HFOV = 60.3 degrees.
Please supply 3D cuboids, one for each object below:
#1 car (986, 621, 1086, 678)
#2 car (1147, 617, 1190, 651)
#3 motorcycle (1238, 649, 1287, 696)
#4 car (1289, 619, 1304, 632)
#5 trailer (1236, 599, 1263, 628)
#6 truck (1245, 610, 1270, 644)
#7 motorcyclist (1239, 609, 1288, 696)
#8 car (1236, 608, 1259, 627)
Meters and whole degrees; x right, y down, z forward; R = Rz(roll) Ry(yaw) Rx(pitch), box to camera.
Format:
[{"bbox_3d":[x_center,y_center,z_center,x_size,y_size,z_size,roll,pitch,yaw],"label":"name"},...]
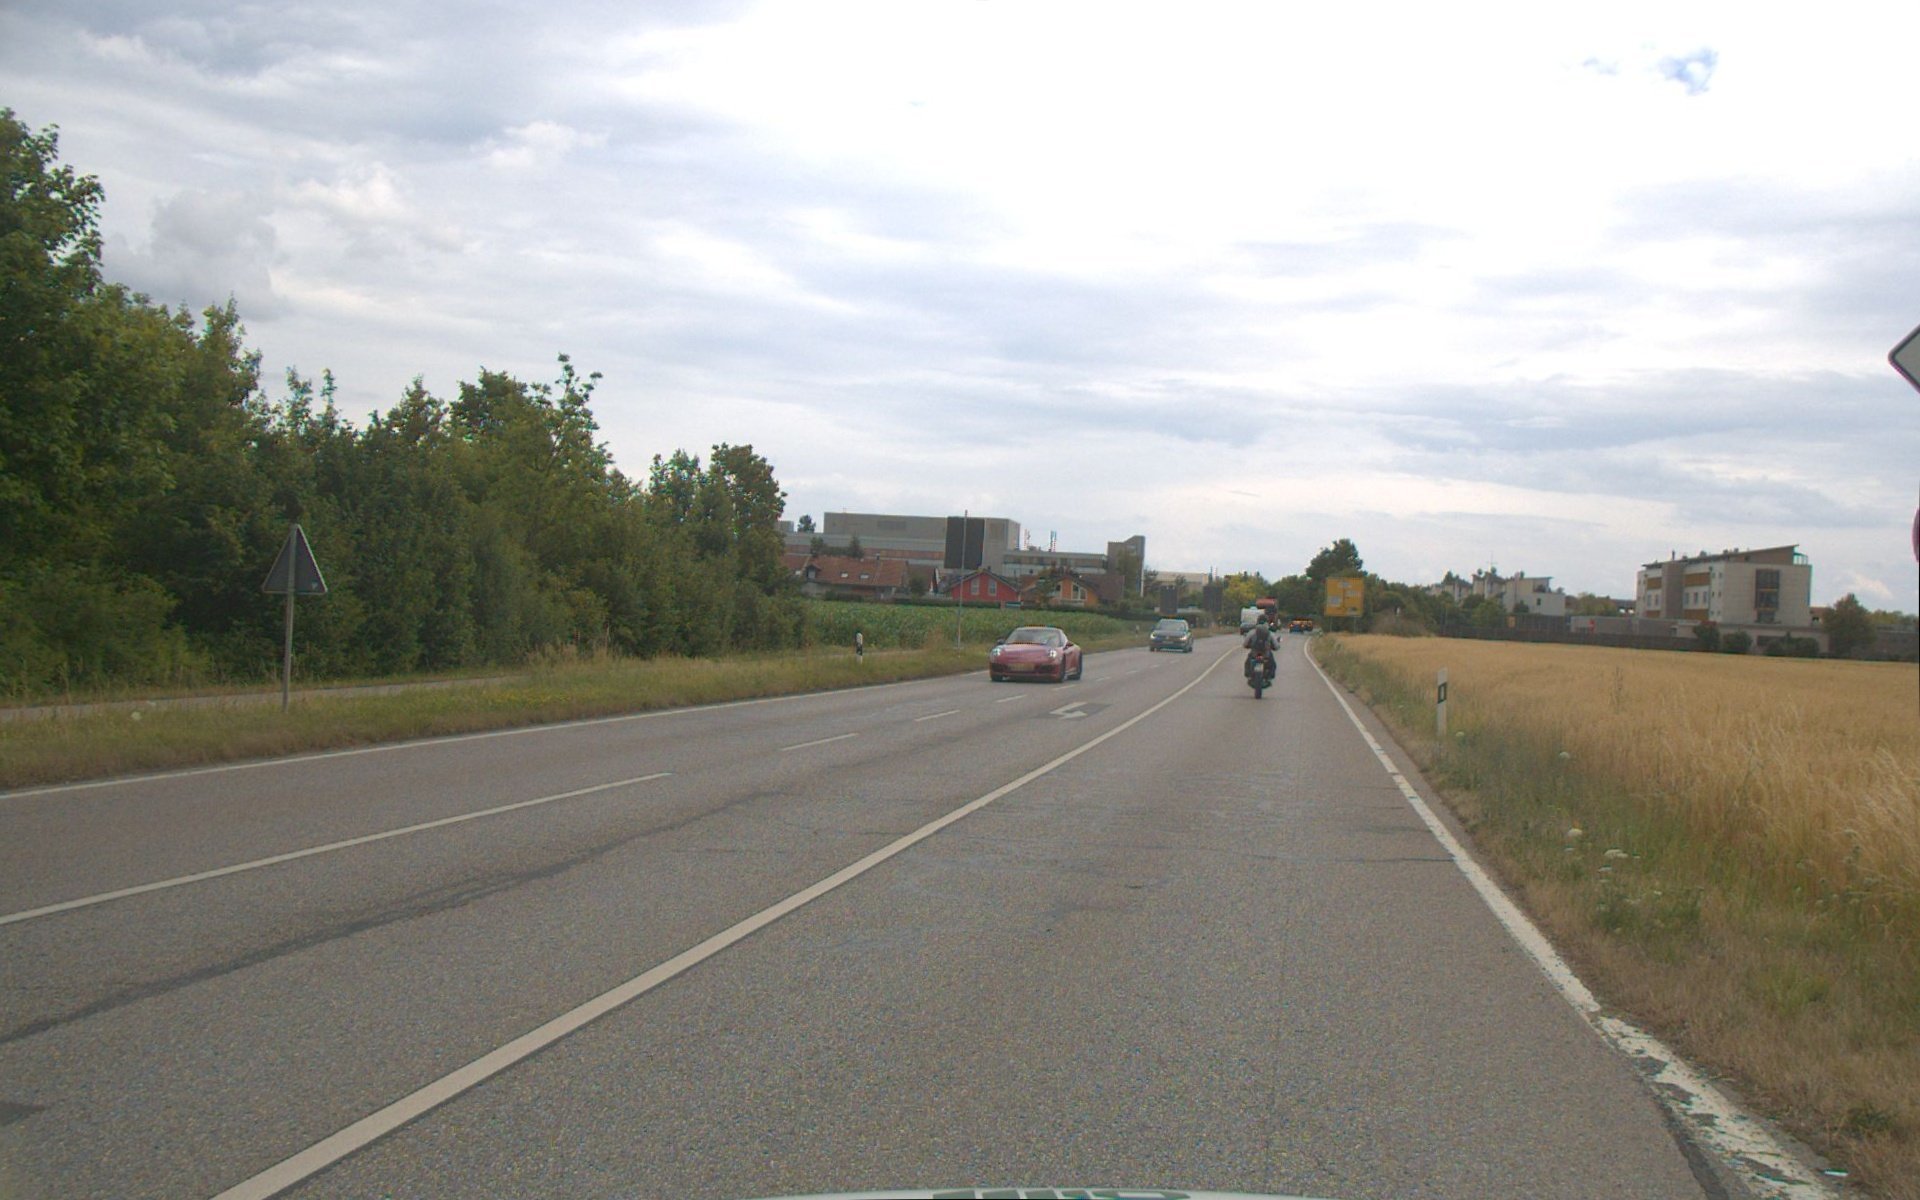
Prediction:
[{"bbox_3d":[1.929,1.177,40.879,1.733,1.262,4.215,2,0,12],"label":"car"},{"bbox_3d":[9.632,1.557,76.207,1.633,1.454,4.306,1,-1,12],"label":"car"},{"bbox_3d":[6.476,1.537,35.337,0.921,0.905,2.147,3,-1,12],"label":"motorcycle"},{"bbox_3d":[42.788,3.254,210.301,1.816,1.498,4.003,3,0,12],"label":"car"},{"bbox_3d":[29.381,1.415,167.555,2.275,2.777,7.849,3,0,12],"label":"trailer"},{"bbox_3d":[37.582,3.402,208.900,2.671,4.057,6.821,2,-1,12],"label":"truck"},{"bbox_3d":[6.472,1.112,35.223,0.921,1.780,1.201,3,-1,12],"label":"motorcyclist"},{"bbox_3d":[28.102,1.756,161.670,1.951,1.729,4.679,3,0,12],"label":"car"}]
